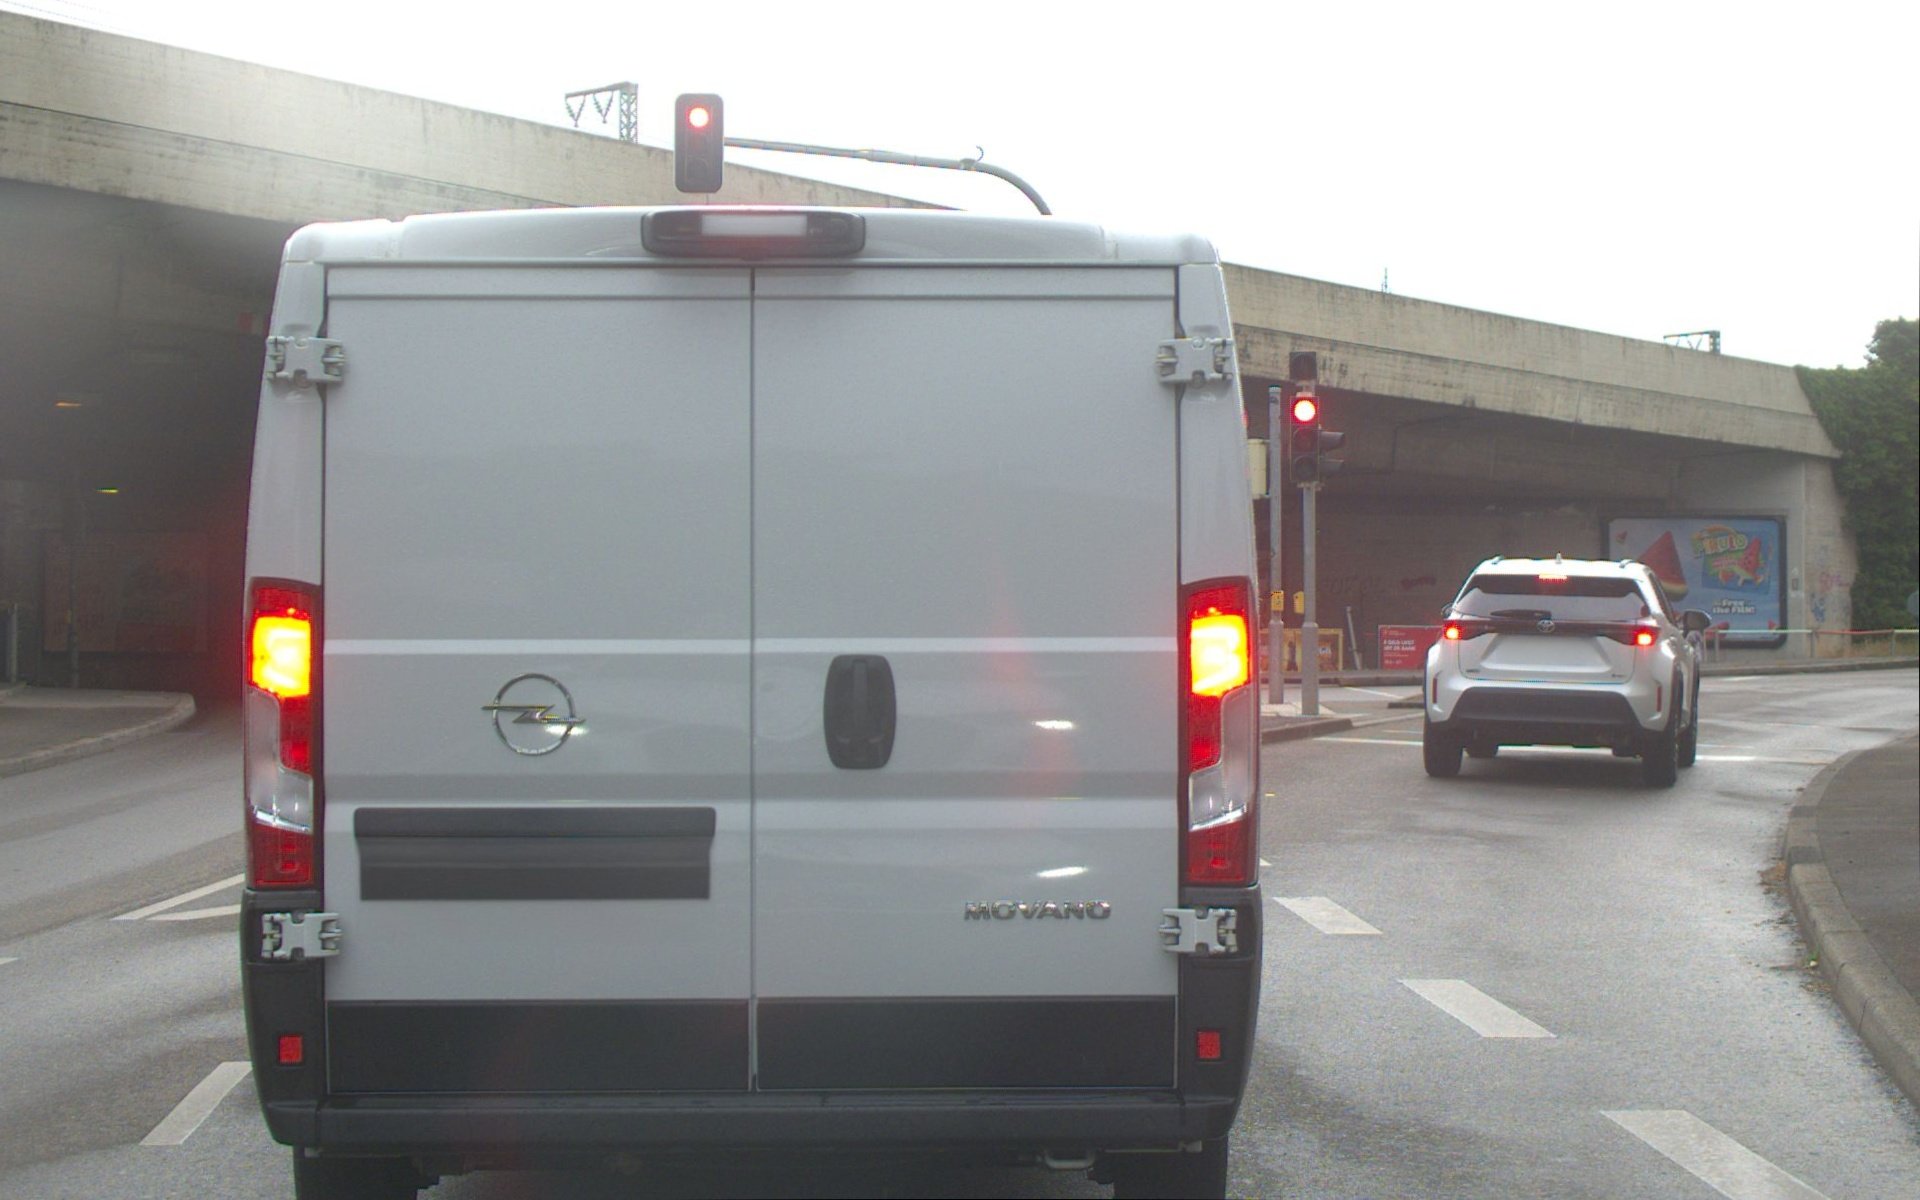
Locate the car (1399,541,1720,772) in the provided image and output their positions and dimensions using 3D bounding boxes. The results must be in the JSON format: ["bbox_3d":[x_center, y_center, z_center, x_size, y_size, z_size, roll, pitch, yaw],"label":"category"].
[{"bbox_3d":[4.481,0.388,25.240,1.995,1.544,3.997,0,0,15],"label":"car"}]

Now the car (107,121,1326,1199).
[{"bbox_3d":[-0.530,0.235,9.163,2.305,2.335,5.282,0,1,-2],"label":"car"}]

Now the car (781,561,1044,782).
[{"bbox_3d":[-0.326,0.580,28.924,1.994,1.723,3.999,0,-1,2],"label":"car"}]
